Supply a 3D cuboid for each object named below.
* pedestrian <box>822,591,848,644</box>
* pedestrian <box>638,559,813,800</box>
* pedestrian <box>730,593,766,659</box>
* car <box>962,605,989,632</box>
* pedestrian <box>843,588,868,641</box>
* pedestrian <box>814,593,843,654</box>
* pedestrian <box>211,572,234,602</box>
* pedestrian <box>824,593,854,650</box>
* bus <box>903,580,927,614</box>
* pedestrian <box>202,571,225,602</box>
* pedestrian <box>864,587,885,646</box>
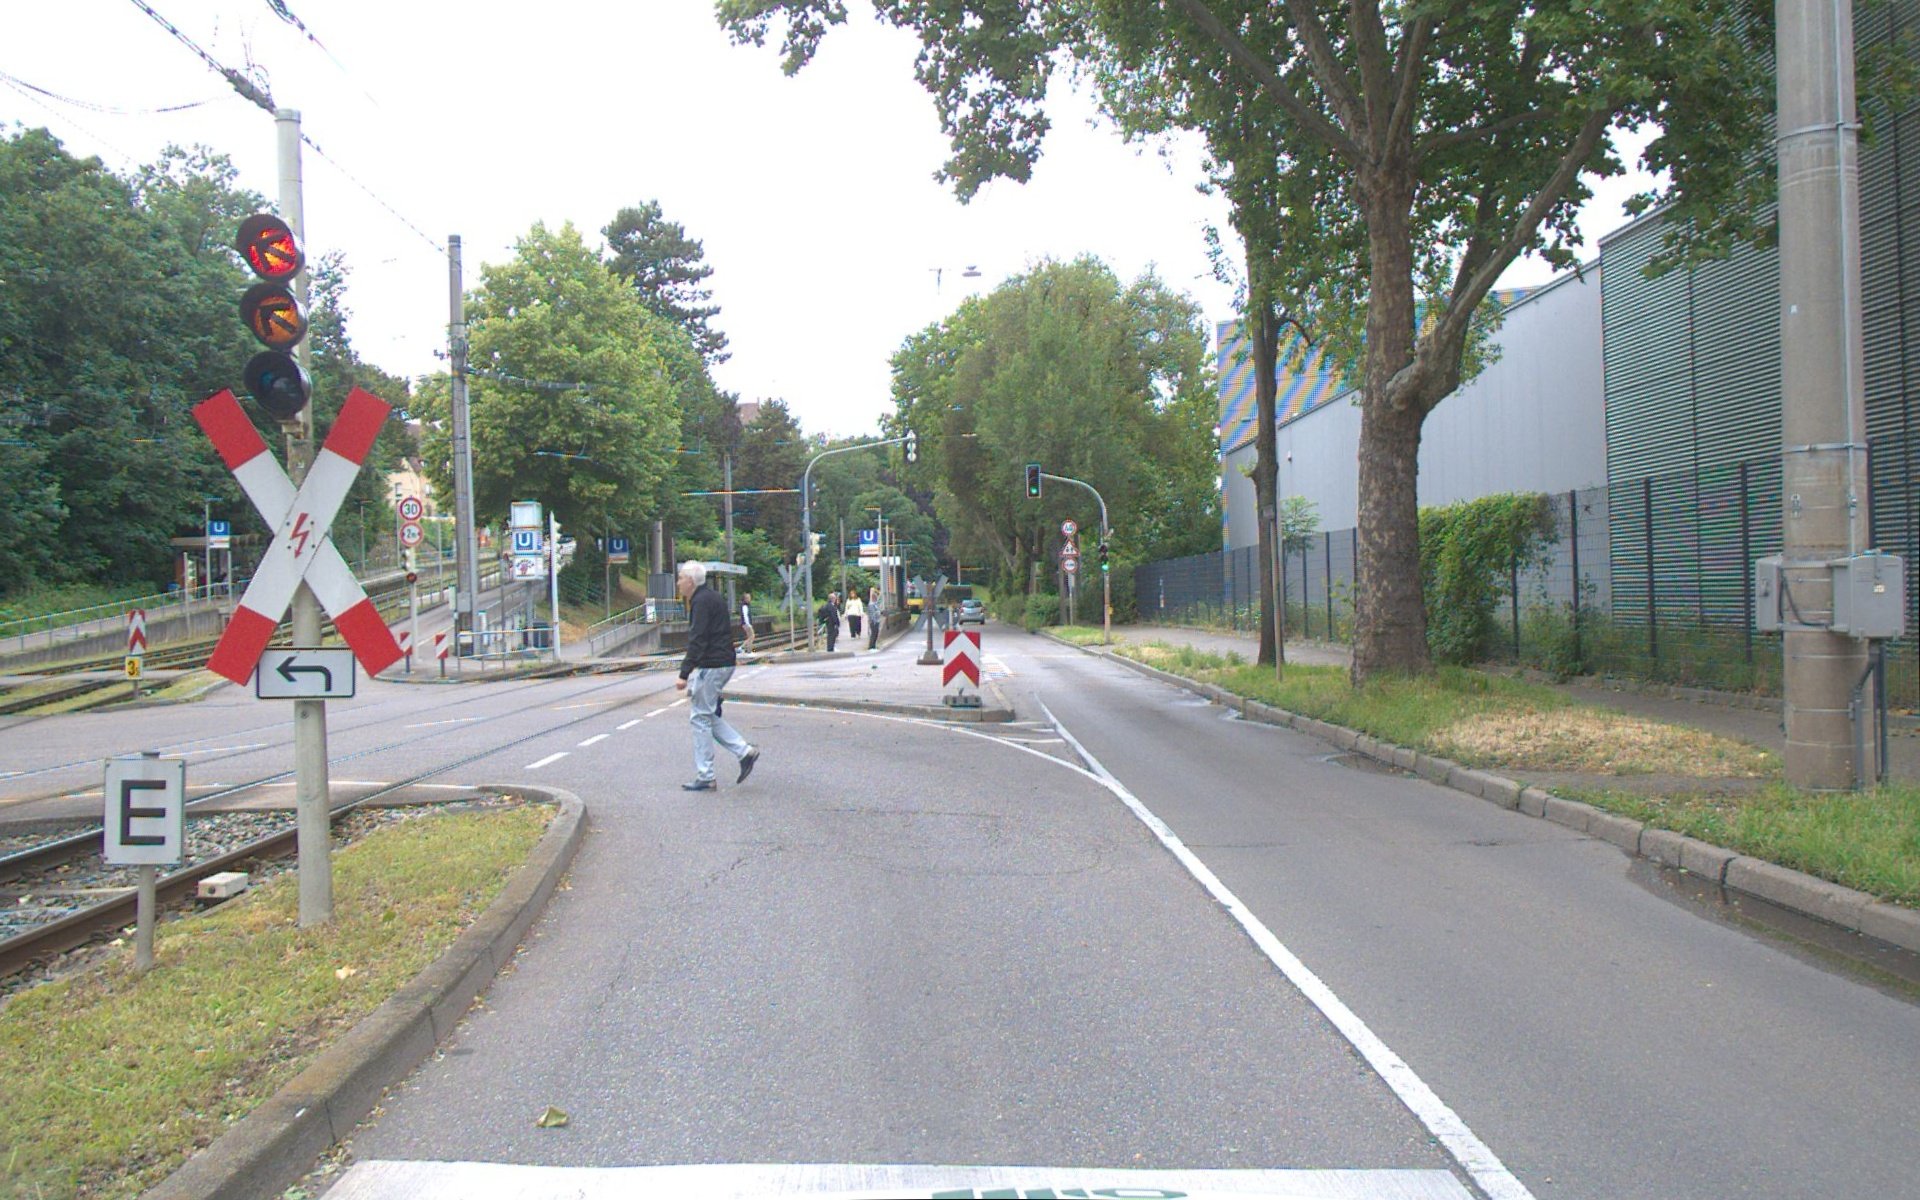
[{"bbox_3d":[-4.056,0.563,53.669,0.722,1.694,0.680,1,-1,-11],"label":"pedestrian"},{"bbox_3d":[-1.836,0.587,12.940,1.099,1.791,0.809,0,-1,39],"label":"pedestrian"},{"bbox_3d":[-6.049,0.745,47.246,0.656,1.853,0.804,1,-1,30],"label":"pedestrian"},{"bbox_3d":[1.040,1.225,111.730,1.708,1.626,4.000,1,2,-1],"label":"car"},{"bbox_3d":[-3.432,0.477,54.497,0.722,1.694,0.680,1,-1,-11],"label":"pedestrian"},{"bbox_3d":[-3.724,0.670,46.919,0.720,1.694,0.682,1,-1,1],"label":"pedestrian"},{"bbox_3d":[-33.657,-0.602,75.524,0.757,1.349,0.785,1,-1,-9],"label":"pedestrian"},{"bbox_3d":[-3.627,0.637,49.675,0.665,1.694,0.738,1,-1,14],"label":"pedestrian"},{"bbox_3d":[-5.213,-0.314,189.727,2.679,3.689,8.938,1,0,-2],"label":"bus"},{"bbox_3d":[-33.560,-0.605,74.364,0.757,1.349,0.786,1,2,-9],"label":"pedestrian"},{"bbox_3d":[-2.621,0.504,50.731,0.538,1.789,0.738,1,-1,4],"label":"pedestrian"}]
